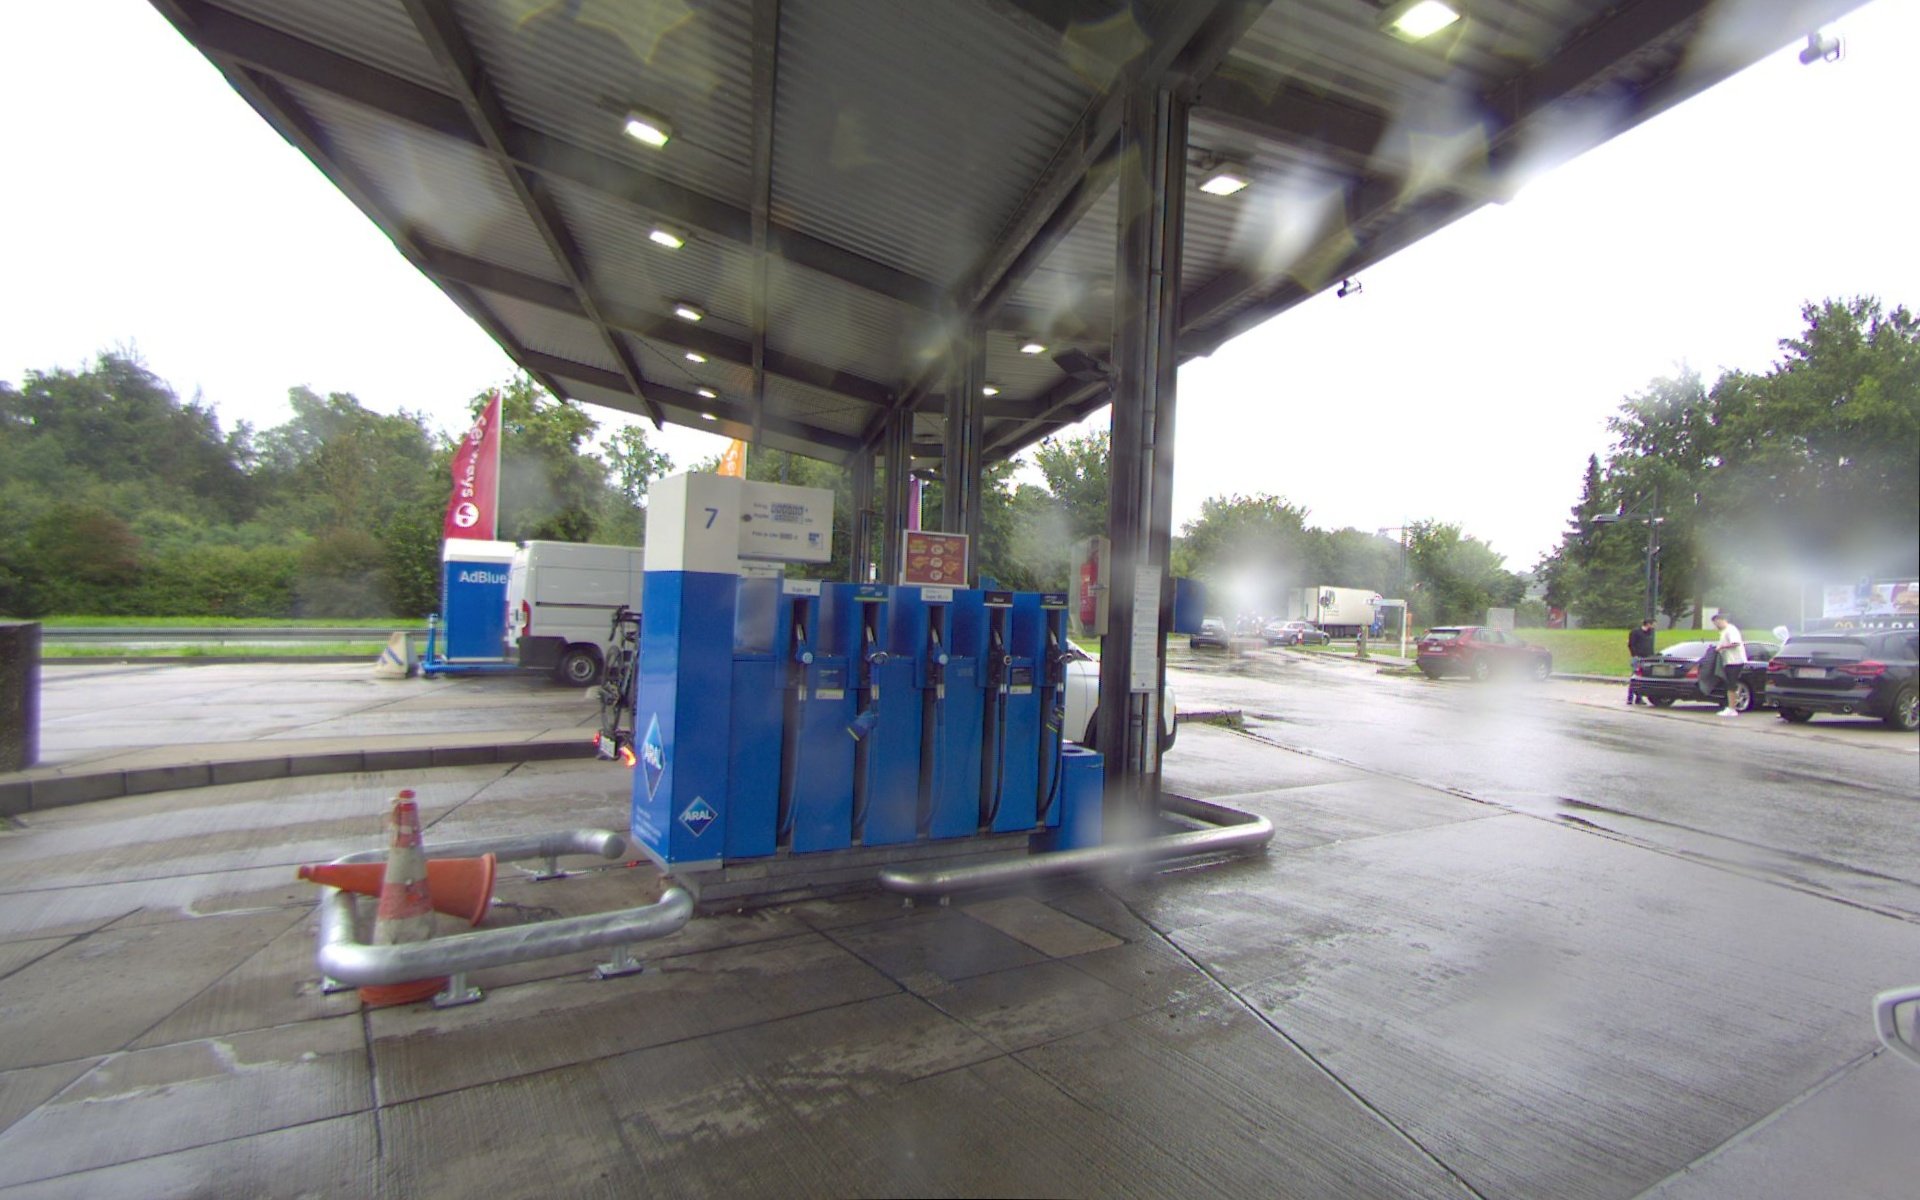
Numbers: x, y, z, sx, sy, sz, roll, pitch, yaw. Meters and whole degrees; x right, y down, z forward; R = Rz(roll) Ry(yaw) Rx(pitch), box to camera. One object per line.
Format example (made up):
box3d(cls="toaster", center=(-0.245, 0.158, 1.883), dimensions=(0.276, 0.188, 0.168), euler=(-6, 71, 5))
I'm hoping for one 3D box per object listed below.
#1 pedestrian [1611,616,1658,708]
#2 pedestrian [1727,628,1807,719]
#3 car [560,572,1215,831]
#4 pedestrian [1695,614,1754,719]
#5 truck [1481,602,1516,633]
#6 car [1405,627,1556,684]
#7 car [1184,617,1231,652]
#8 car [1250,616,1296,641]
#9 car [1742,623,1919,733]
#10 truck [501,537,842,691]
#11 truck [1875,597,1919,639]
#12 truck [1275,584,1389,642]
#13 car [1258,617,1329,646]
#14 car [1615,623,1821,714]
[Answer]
box3d(cls="pedestrian", center=(14.546, 1.310, 21.681), dimensions=(0.691, 1.912, 0.892), euler=(2, 0, 28))
box3d(cls="pedestrian", center=(15.229, 1.381, 18.977), dimensions=(0.937, 1.653, 0.703), euler=(2, 0, -10))
box3d(cls="car", center=(-0.440, 0.704, 8.450), dimensions=(5.210, 1.629, 1.852), euler=(2, 0, -30))
box3d(cls="pedestrian", center=(14.539, 1.233, 19.123), dimensions=(0.691, 1.912, 0.953), euler=(2, 0, 27))
box3d(cls="truck", center=(56.446, 1.843, 105.378), dimensions=(2.437, 3.126, 7.354), euler=(2, 0, 22))
box3d(cls="car", center=(16.062, 1.672, 30.993), dimensions=(4.283, 1.666, 1.933), euler=(1, -2, -25))
box3d(cls="car", center=(12.761, 1.766, 51.643), dimensions=(1.960, 1.700, 4.001), euler=(1, -1, 19))
box3d(cls="car", center=(22.890, 2.062, 73.428), dimensions=(1.787, 1.704, 3.934), euler=(2, 0, 40))
box3d(cls="car", center=(16.158, 1.274, 17.459), dimensions=(4.274, 1.734, 2.016), euler=(1, -1, -18))
box3d(cls="truck", center=(-5.352, 0.294, 18.932), dimensions=(5.793, 2.527, 2.221), euler=(2, 0, -30))
box3d(cls="truck", center=(68.841, 1.326, 71.691), dimensions=(5.285, 2.959, 2.191), euler=(2, 0, -5))
box3d(cls="truck", center=(31.866, 1.186, 85.142), dimensions=(3.498, 4.397, 16.922), euler=(2, 0, 40))
box3d(cls="car", center=(20.101, 1.908, 60.502), dimensions=(3.948, 1.650, 1.765), euler=(2, -1, -27))
box3d(cls="car", center=(15.928, 1.359, 21.082), dimensions=(4.293, 1.734, 2.007), euler=(1, -2, -31))
